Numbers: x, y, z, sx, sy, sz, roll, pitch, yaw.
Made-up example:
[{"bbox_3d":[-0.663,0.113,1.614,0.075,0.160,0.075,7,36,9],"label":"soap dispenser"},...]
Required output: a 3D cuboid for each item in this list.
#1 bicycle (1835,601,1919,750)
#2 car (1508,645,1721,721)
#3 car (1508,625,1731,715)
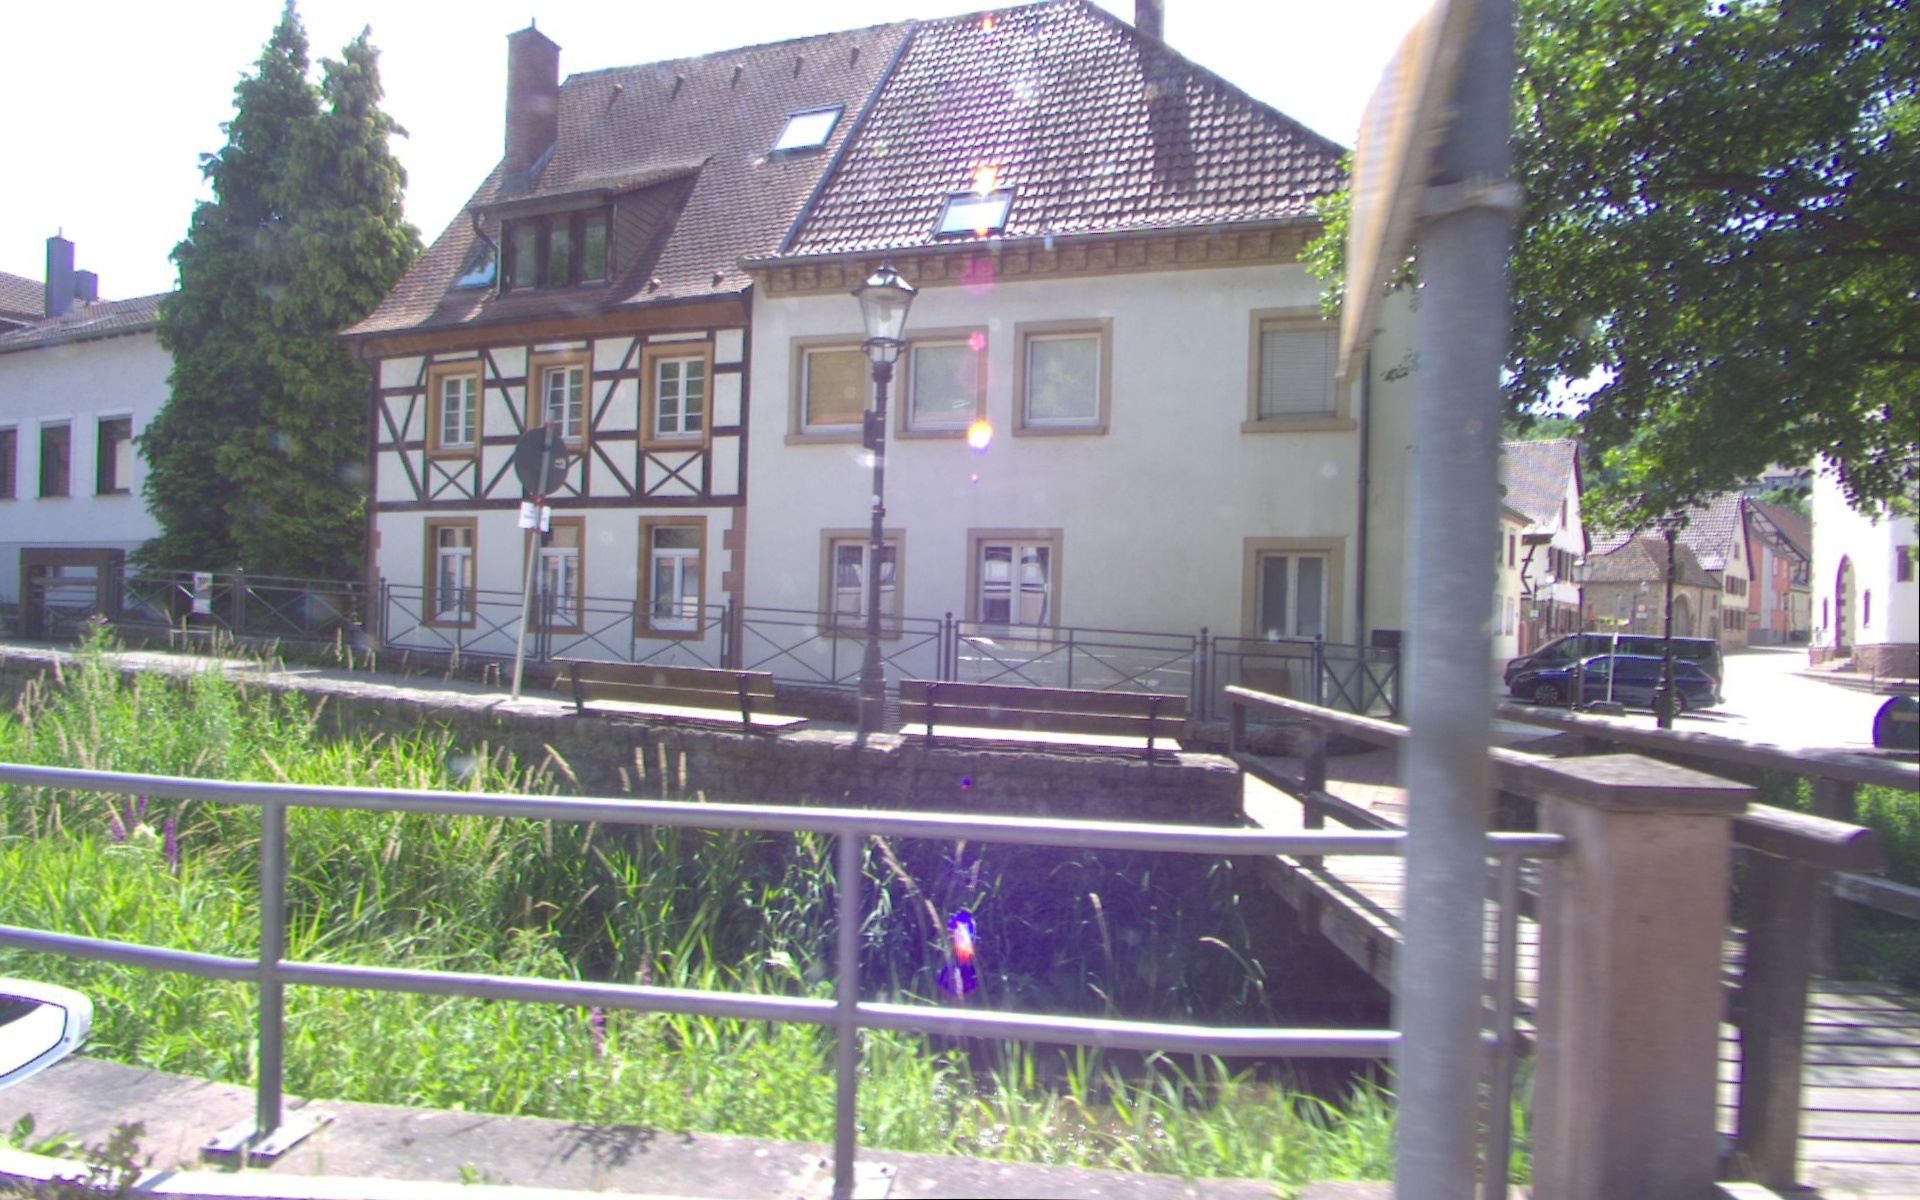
[{"bbox_3d":[14.101,1.110,14.380,2.617,2.037,0.783,2,-4,-10],"label":"bicycle"},{"bbox_3d":[16.908,2.111,26.171,4.470,1.502,1.582,3,1,30],"label":"car"},{"bbox_3d":[18.525,1.899,28.461,5.044,2.054,1.951,3,1,30],"label":"car"}]
